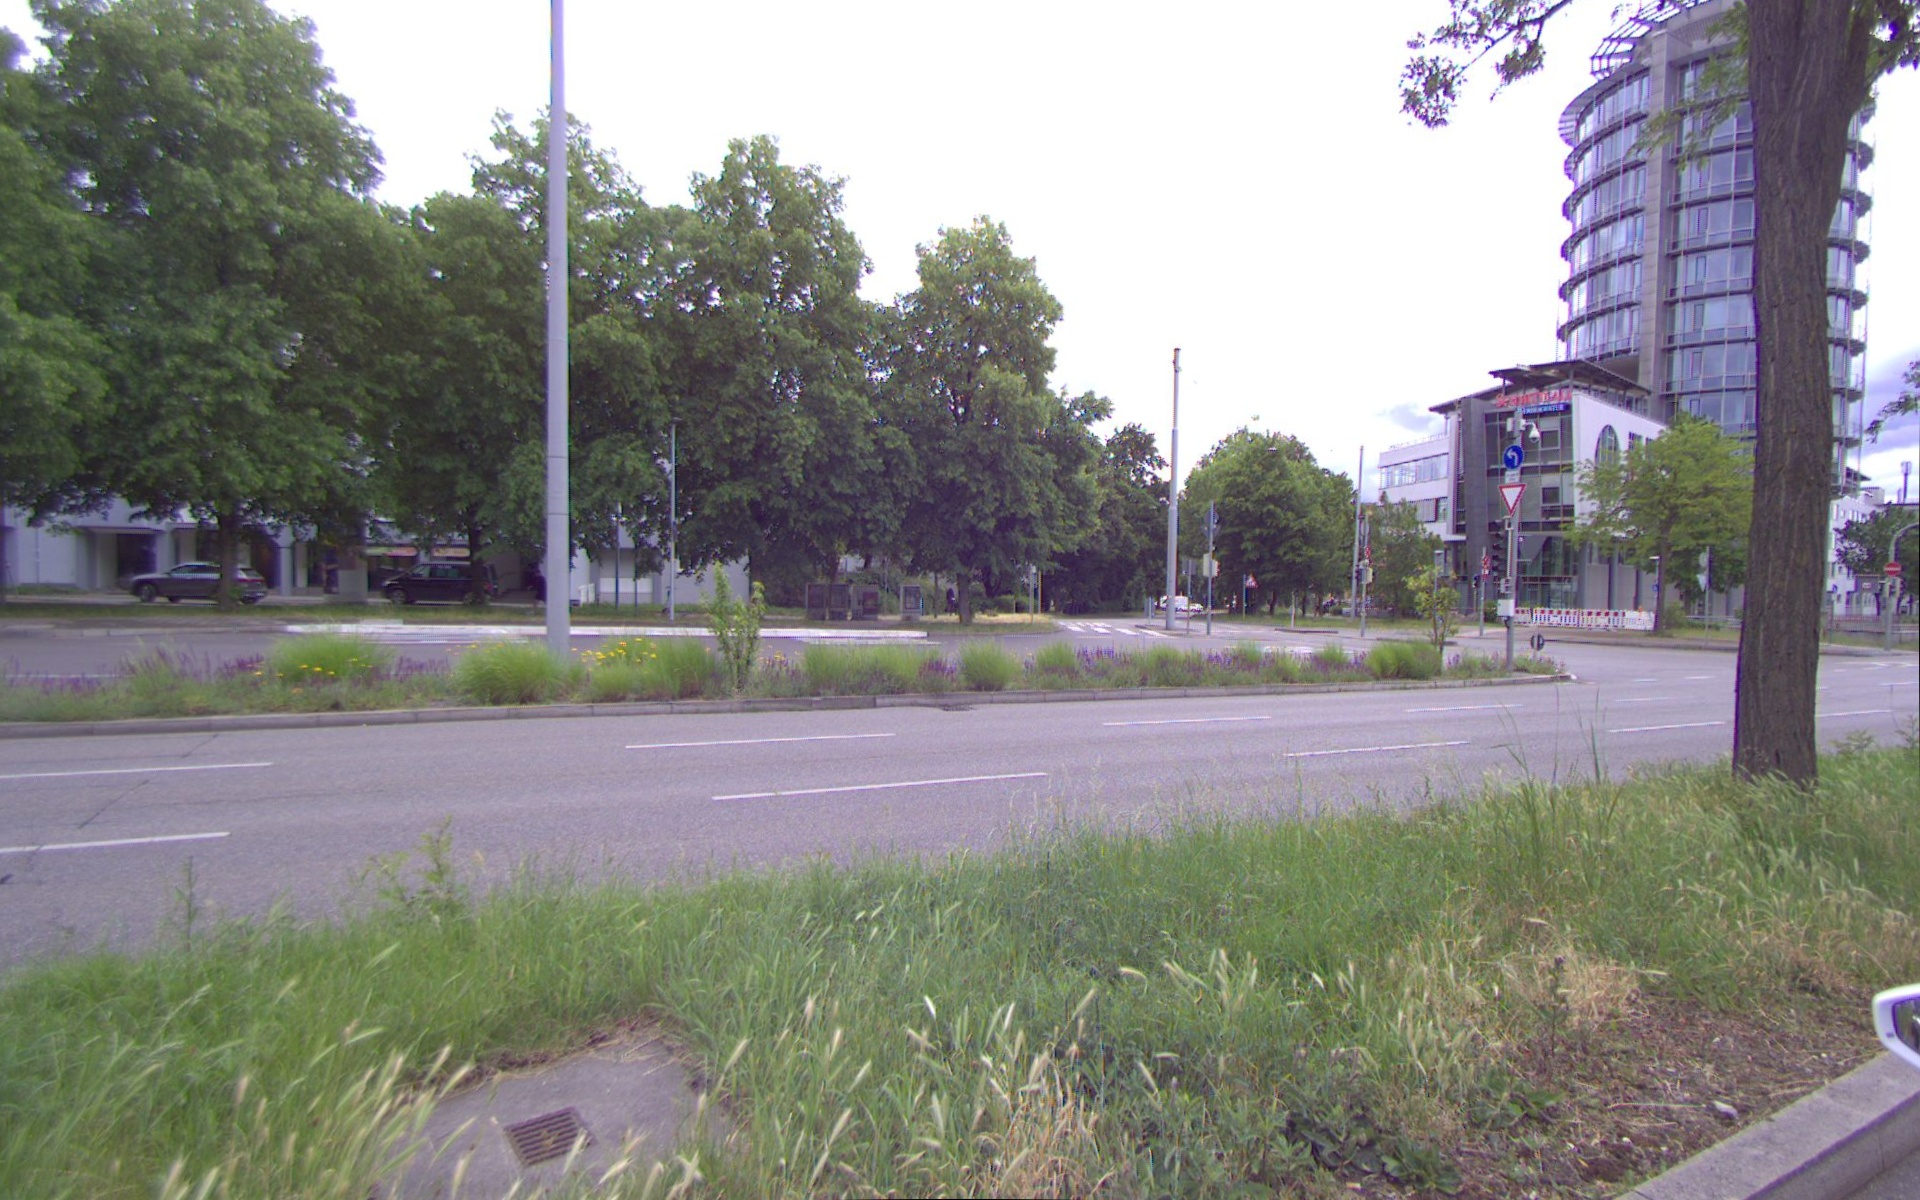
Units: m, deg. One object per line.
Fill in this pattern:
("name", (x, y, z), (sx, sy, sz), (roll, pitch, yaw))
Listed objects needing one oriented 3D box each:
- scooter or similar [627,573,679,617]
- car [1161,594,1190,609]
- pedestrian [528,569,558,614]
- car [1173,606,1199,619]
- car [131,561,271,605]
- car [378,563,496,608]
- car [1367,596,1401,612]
("scooter or similar", (-11.864, -0.189, 38.856), (1.835, 1.686, 0.645), (1, 1, -43))
("car", (37.734, 0.250, 175.679), (4.475, 2.370, 1.994), (2, 0, -16))
("pedestrian", (-14.877, -0.291, 35.834), (0.894, 1.578, 0.766), (1, 1, -30))
("car", (37.516, 2.087, 166.869), (1.709, 2.040, 3.954), (1, 1, -39))
("car", (-29.202, -0.645, 38.750), (3.927, 1.532, 1.757), (1, 1, -8))
("car", (-23.310, -0.645, 44.953), (4.345, 1.872, 1.781), (1, 1, -16))
("car", (25.047, 0.232, 59.398), (1.684, 0.888, 0.776), (1, 0, 7))
